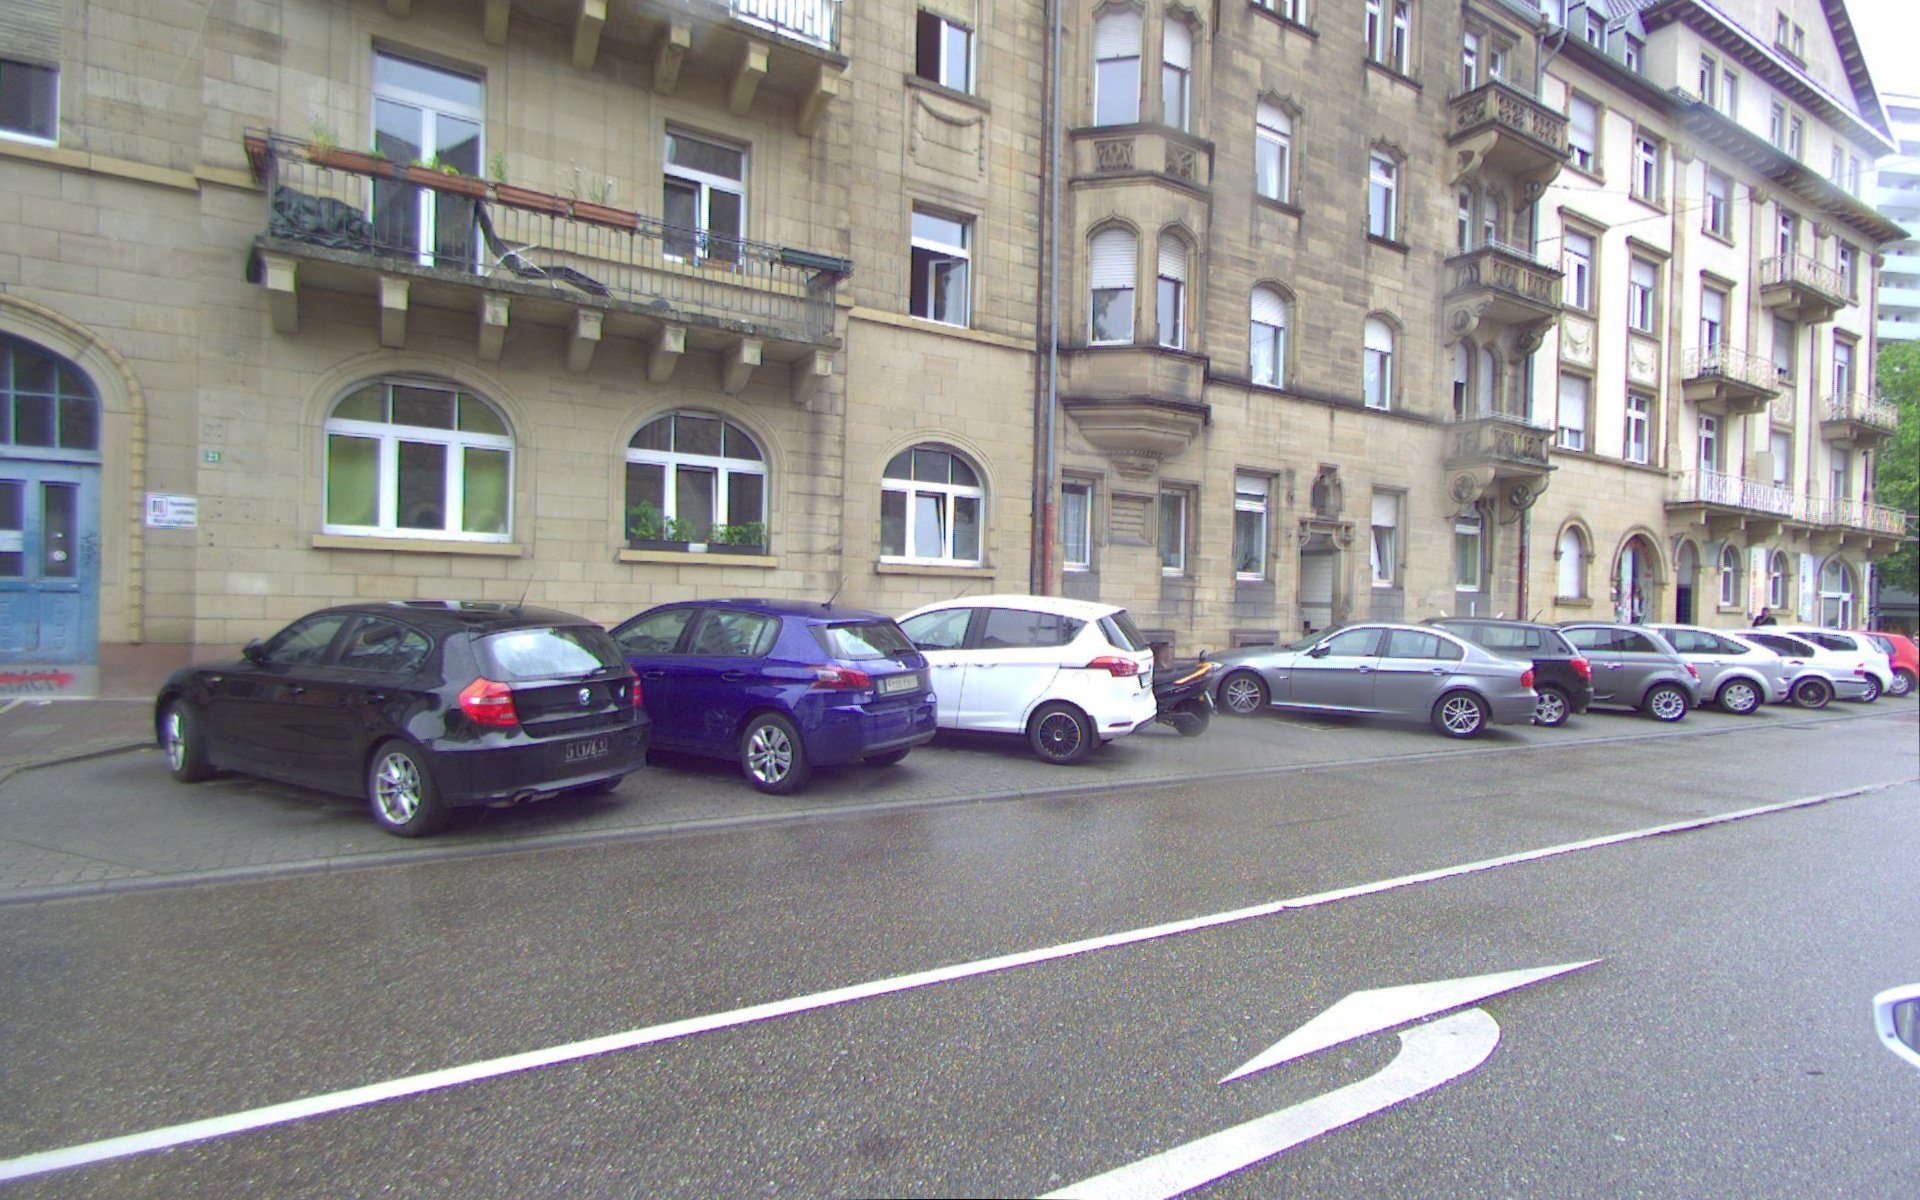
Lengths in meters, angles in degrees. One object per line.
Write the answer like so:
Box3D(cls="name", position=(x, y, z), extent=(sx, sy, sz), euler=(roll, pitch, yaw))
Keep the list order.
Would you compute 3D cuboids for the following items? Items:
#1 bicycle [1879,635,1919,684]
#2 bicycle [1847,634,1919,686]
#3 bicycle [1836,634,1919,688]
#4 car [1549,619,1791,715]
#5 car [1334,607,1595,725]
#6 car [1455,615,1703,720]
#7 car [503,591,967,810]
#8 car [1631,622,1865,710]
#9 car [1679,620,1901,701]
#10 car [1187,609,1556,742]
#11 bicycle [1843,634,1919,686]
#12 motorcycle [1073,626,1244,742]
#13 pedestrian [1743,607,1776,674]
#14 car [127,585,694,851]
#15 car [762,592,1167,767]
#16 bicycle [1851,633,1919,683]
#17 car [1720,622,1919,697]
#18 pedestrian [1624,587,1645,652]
Box3D(cls="bicycle", position=(26.223, 1.633, 27.300), extent=(0.601, 1.283, 1.754), euler=(1, -1, -31))
Box3D(cls="bicycle", position=(24.563, 1.561, 26.408), extent=(0.492, 1.283, 1.801), euler=(1, -1, -31))
Box3D(cls="bicycle", position=(23.591, 1.532, 25.656), extent=(0.516, 1.283, 1.754), euler=(1, -1, -31))
Box3D(cls="car", position=(13.054, 1.177, 18.708), extent=(3.337, 1.578, 1.705), euler=(1, 0, 21))
Box3D(cls="car", position=(7.761, 0.970, 15.800), extent=(3.484, 1.619, 1.605), euler=(1, 0, 21))
Box3D(cls="car", position=(10.455, 1.091, 17.229), extent=(3.337, 1.578, 1.652), euler=(1, 0, 21))
Box3D(cls="car", position=(-2.107, 0.746, 9.149), extent=(3.972, 1.594, 1.795), euler=(1, -1, 31))
Box3D(cls="car", position=(15.763, 1.274, 20.308), extent=(3.337, 1.578, 1.705), euler=(1, 0, 21))
Box3D(cls="car", position=(18.041, 1.267, 22.022), extent=(3.337, 1.578, 1.705), euler=(1, 0, 21))
Box3D(cls="car", position=(5.501, 0.951, 13.926), extent=(4.457, 1.565, 1.689), euler=(1, 0, 17))
Box3D(cls="bicycle", position=(24.047, 1.537, 25.949), extent=(0.492, 1.283, 1.801), euler=(1, -1, -31))
Box3D(cls="motorcycle", position=(2.351, 0.958, 11.921), extent=(1.837, 1.177, 0.633), euler=(3, 1, 23))
Box3D(cls="pedestrian", position=(24.512, 1.238, 30.803), extent=(0.647, 2.040, 0.565), euler=(1, 0, -30))
Box3D(cls="car", position=(-4.147, 0.689, 7.535), extent=(3.969, 1.532, 1.796), euler=(1, -1, 27))
Box3D(cls="car", position=(0.083, 0.745, 10.784), extent=(3.964, 1.576, 1.799), euler=(1, -1, 20))
Box3D(cls="bicycle", position=(25.322, 1.568, 27.137), extent=(0.601, 1.283, 1.754), euler=(1, -1, -31))
Box3D(cls="car", position=(20.310, 1.356, 23.771), extent=(3.337, 1.578, 1.705), euler=(1, 0, 21))
Box3D(cls="pedestrian", position=(19.120, 0.552, 28.464), extent=(0.343, 1.846, 0.364), euler=(2, -1, -32))
